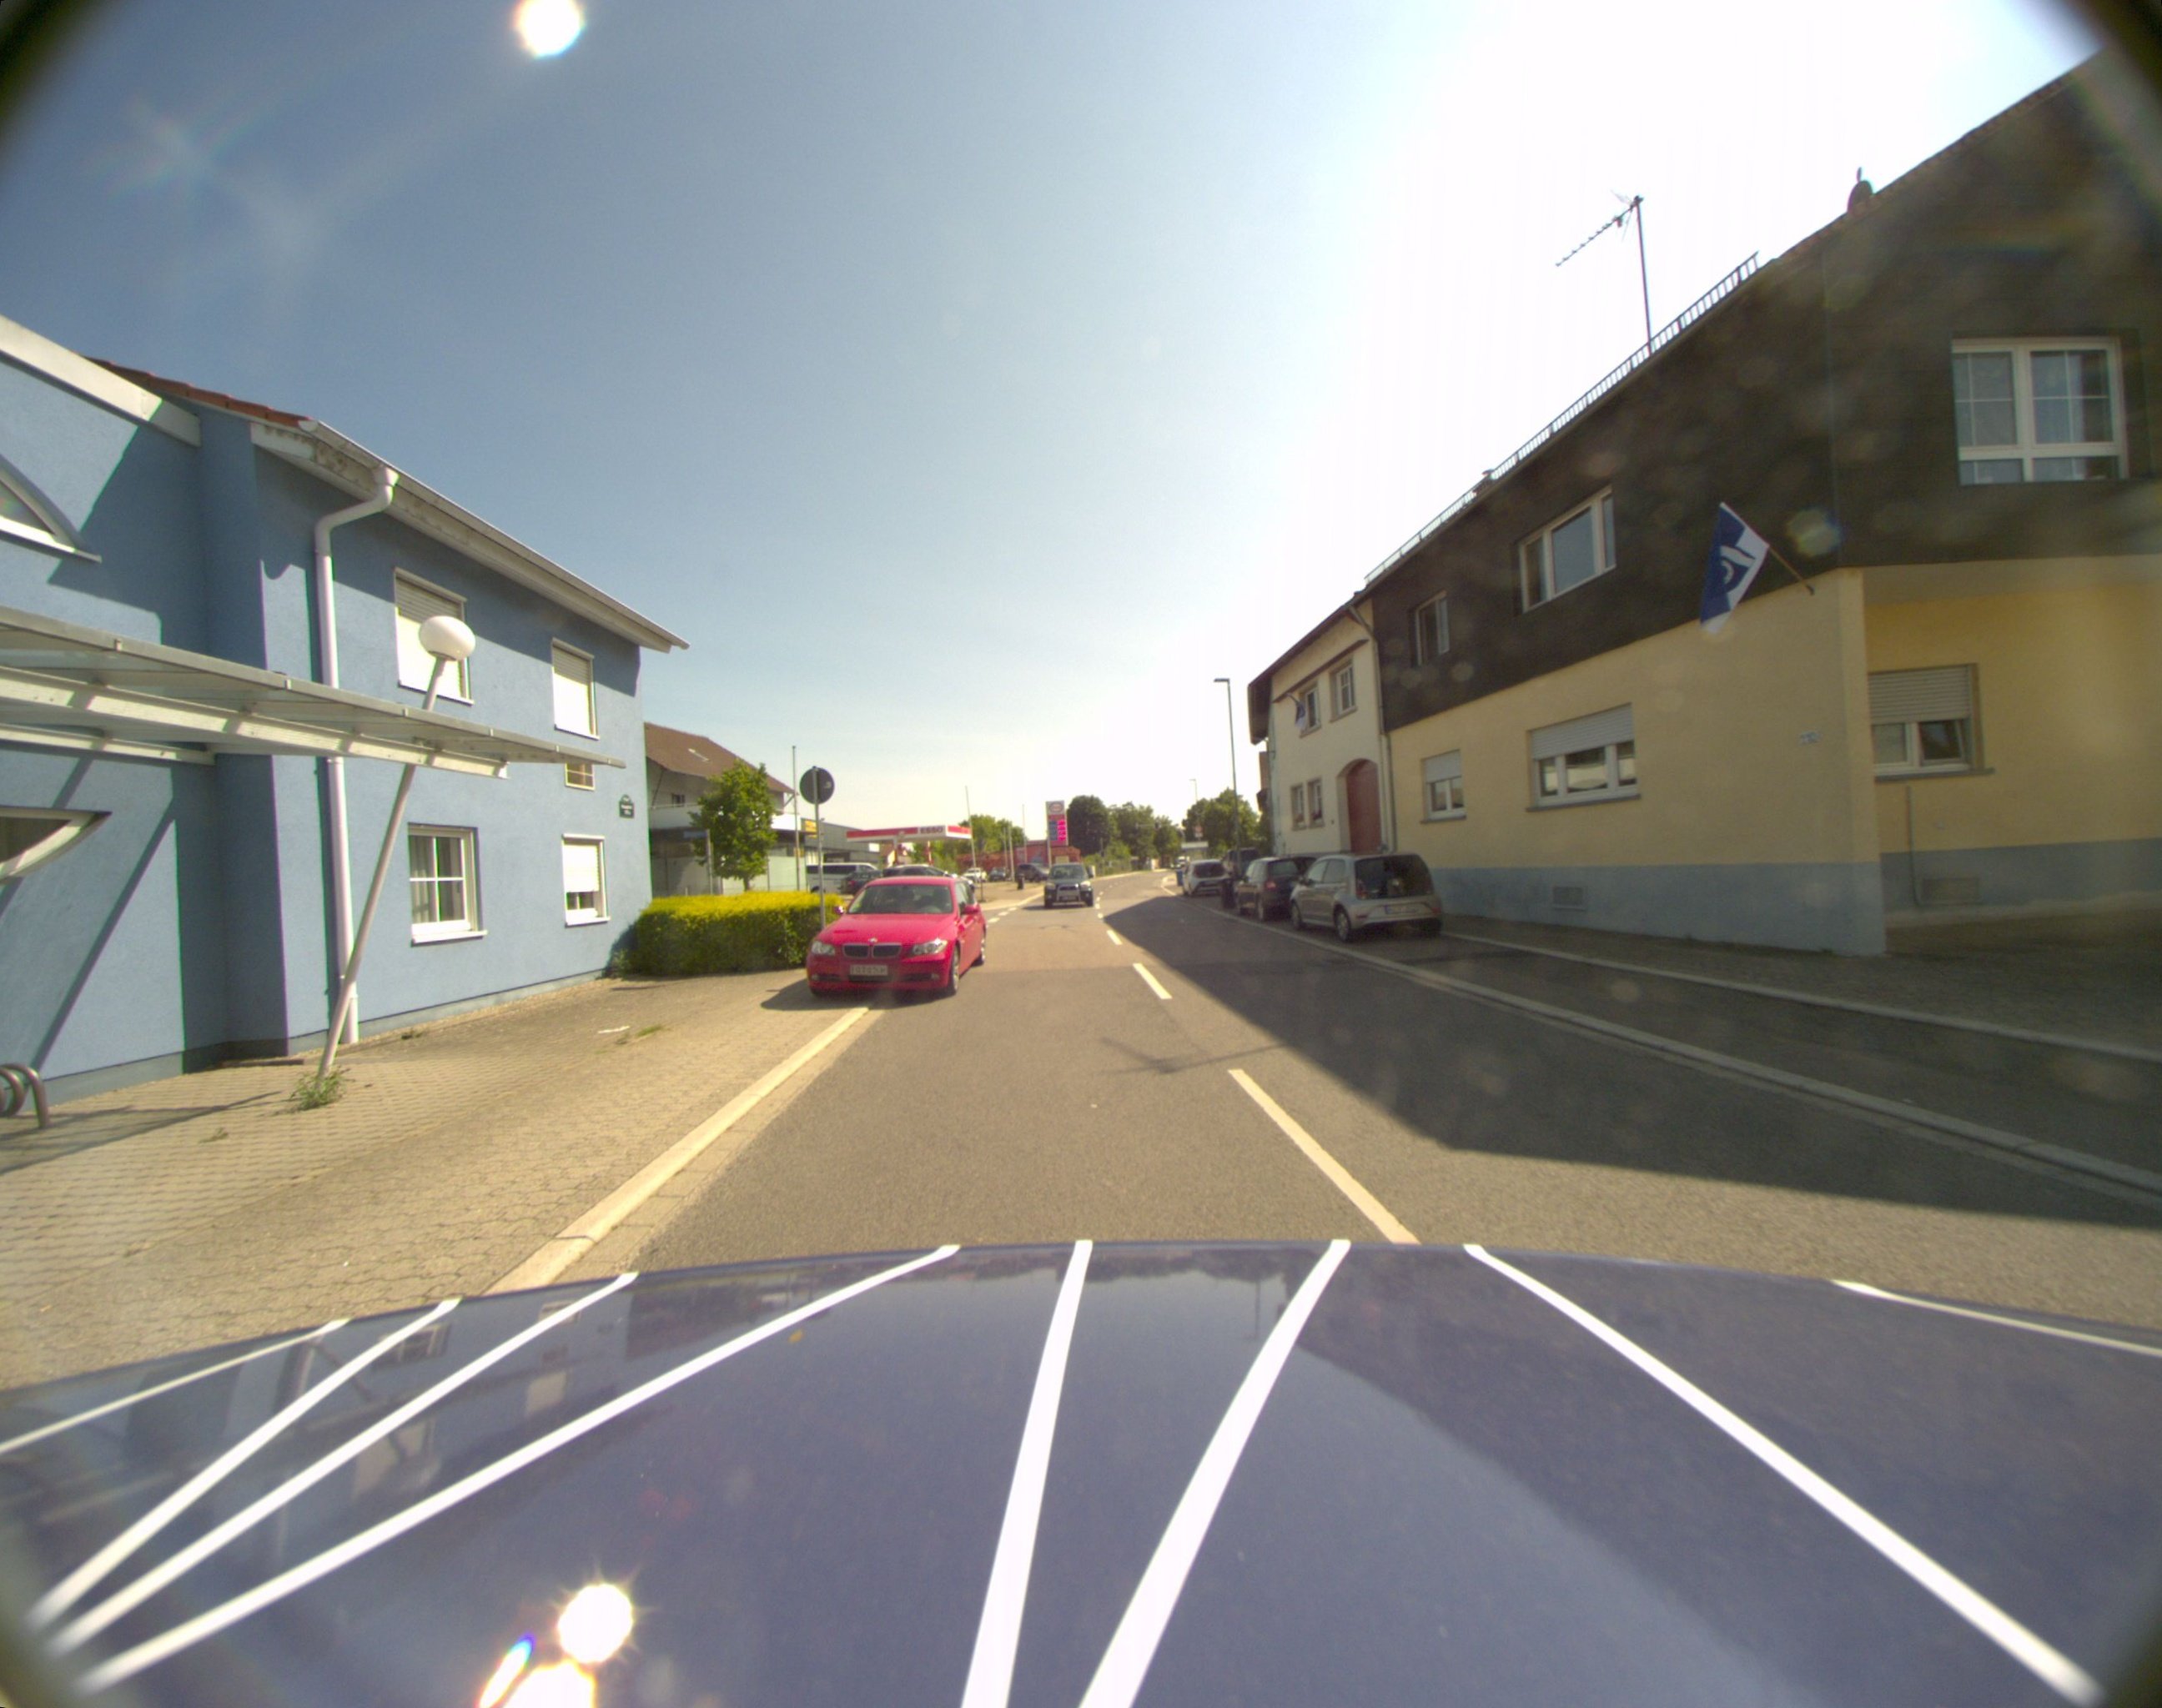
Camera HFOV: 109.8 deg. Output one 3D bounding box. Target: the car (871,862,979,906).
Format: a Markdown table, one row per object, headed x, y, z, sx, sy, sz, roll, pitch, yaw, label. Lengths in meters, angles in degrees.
| x | y | z | sx | sy | sz | roll | pitch | yaw | label |
| --- | --- | --- | --- | --- | --- | --- | --- | --- | --- |
| -6.686 | 1.271 | 32.591 | 4.120 | 1.643 | 1.827 | -2 | -1 | -30 | car |

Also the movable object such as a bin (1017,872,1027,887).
| x | y | z | sx | sy | sz | roll | pitch | yaw | label |
| --- | --- | --- | --- | --- | --- | --- | --- | --- | --- |
| -3.634 | 1.571 | 46.967 | 0.559 | 0.931 | 0.514 | -2 | 0 | -3 | movable object such as a bin |

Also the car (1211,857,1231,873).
| x | y | z | sx | sy | sz | roll | pitch | yaw | label |
| --- | --- | --- | --- | --- | --- | --- | --- | --- | --- |
| 13.717 | 1.100 | 74.349 | 1.718 | 1.444 | 3.918 | -4 | -2 | 9 | car |

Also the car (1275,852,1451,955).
| x | y | z | sx | sy | sz | roll | pitch | yaw | label |
| --- | --- | --- | --- | --- | --- | --- | --- | --- | --- |
| 4.949 | 0.799 | 13.929 | 1.645 | 1.492 | 3.781 | -5 | 0 | -1 | car |

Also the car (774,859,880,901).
| x | y | z | sx | sy | sz | roll | pitch | yaw | label |
| --- | --- | --- | --- | --- | --- | --- | --- | --- | --- |
| -13.906 | 1.399 | 41.775 | 5.290 | 2.001 | 2.228 | -2 | 0 | -19 | car |

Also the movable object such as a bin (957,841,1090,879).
| x | y | z | sx | sy | sz | roll | pitch | yaw | label |
| --- | --- | --- | --- | --- | --- | --- | --- | --- | --- |
| -7.081 | 0.773 | 94.031 | 16.084 | 3.994 | 2.775 | -3 | 0 | 7 | movable object such as a bin |

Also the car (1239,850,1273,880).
| x | y | z | sx | sy | sz | roll | pitch | yaw | label |
| --- | --- | --- | --- | --- | --- | --- | --- | --- | --- |
| 11.414 | 0.680 | 49.747 | 1.971 | 1.764 | 4.281 | -4 | 0 | 12 | car |

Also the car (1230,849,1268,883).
| x | y | z | sx | sy | sz | roll | pitch | yaw | label |
| --- | --- | --- | --- | --- | --- | --- | --- | --- | --- |
| 10.063 | 0.670 | 45.336 | 1.839 | 1.782 | 4.348 | -6 | -1 | 16 | car |

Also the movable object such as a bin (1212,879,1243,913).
| x | y | z | sx | sy | sz | roll | pitch | yaw | label |
| --- | --- | --- | --- | --- | --- | --- | --- | --- | --- |
| 4.358 | 1.239 | 22.627 | 0.553 | 0.923 | 0.825 | -7 | 0 | -7 | movable object such as a bin |

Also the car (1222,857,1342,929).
| x | y | z | sx | sy | sz | roll | pitch | yaw | label |
| --- | --- | --- | --- | --- | --- | --- | --- | --- | --- |
| 4.804 | 0.875 | 18.741 | 1.683 | 1.428 | 3.995 | -6 | 0 | -1 | car |

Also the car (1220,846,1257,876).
| x | y | z | sx | sy | sz | roll | pitch | yaw | label |
| --- | --- | --- | --- | --- | --- | --- | --- | --- | --- |
| 12.114 | 0.496 | 58.840 | 2.130 | 1.974 | 5.268 | -8 | -1 | 7 | car |

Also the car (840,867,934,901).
| x | y | z | sx | sy | sz | roll | pitch | yaw | label |
| --- | --- | --- | --- | --- | --- | --- | --- | --- | --- |
| -10.062 | 1.536 | 39.476 | 4.323 | 1.541 | 1.980 | -2 | -1 | -29 | car |

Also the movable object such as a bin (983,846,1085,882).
| x | y | z | sx | sy | sz | roll | pitch | yaw | label |
| --- | --- | --- | --- | --- | --- | --- | --- | --- | --- |
| -6.314 | 1.347 | 102.430 | 13.280 | 4.140 | 2.865 | -3 | 0 | 7 | movable object such as a bin |

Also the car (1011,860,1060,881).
| x | y | z | sx | sy | sz | roll | pitch | yaw | label |
| --- | --- | --- | --- | --- | --- | --- | --- | --- | --- |
| -3.837 | 1.391 | 63.629 | 1.778 | 1.546 | 4.171 | -2 | -1 | -44 | car |

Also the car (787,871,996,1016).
| x | y | z | sx | sy | sz | roll | pitch | yaw | label |
| --- | --- | --- | --- | --- | --- | --- | --- | --- | --- |
| -2.358 | 1.049 | 10.652 | 1.737 | 1.486 | 4.355 | -1 | 0 | 1 | car |

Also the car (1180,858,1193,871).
| x | y | z | sx | sy | sz | roll | pitch | yaw | label |
| --- | --- | --- | --- | --- | --- | --- | --- | --- | --- |
| 21.630 | 2.072 | 155.676 | 1.936 | 2.488 | 5.844 | -3 | 0 | 14 | car |

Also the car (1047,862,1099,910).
| x | y | z | sx | sy | sz | roll | pitch | yaw | label |
| --- | --- | --- | --- | --- | --- | --- | --- | --- | --- |
| -0.287 | 1.201 | 29.223 | 1.849 | 1.686 | 4.399 | 0 | -2 | 0 | car |

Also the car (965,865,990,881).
| x | y | z | sx | sy | sz | roll | pitch | yaw | label |
| --- | --- | --- | --- | --- | --- | --- | --- | --- | --- |
| -11.402 | 2.119 | 84.249 | 2.003 | 1.582 | 4.339 | -3 | 0 | 1 | car |

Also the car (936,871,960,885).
| x | y | z | sx | sy | sz | roll | pitch | yaw | label |
| --- | --- | --- | --- | --- | --- | --- | --- | --- | --- |
| -14.826 | 2.656 | 85.018 | 1.845 | 1.378 | 4.000 | -3 | 0 | 1 | car |

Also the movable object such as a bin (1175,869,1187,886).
| x | y | z | sx | sy | sz | roll | pitch | yaw | label |
| --- | --- | --- | --- | --- | --- | --- | --- | --- | --- |
| 5.841 | 1.379 | 44.465 | 0.559 | 0.931 | 0.514 | -5 | 0 | -3 | movable object such as a bin |

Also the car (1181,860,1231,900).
| x | y | z | sx | sy | sz | roll | pitch | yaw | label |
| --- | --- | --- | --- | --- | --- | --- | --- | --- | --- |
| 5.154 | 1.031 | 31.714 | 1.687 | 1.453 | 3.650 | -4 | 0 | 4 | car |

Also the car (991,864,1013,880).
| x | y | z | sx | sy | sz | roll | pitch | yaw | label |
| --- | --- | --- | --- | --- | --- | --- | --- | --- | --- |
| -8.715 | 1.964 | 84.157 | 1.845 | 1.582 | 4.106 | -3 | 0 | 1 | car |

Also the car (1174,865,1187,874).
| x | y | z | sx | sy | sz | roll | pitch | yaw | label |
| --- | --- | --- | --- | --- | --- | --- | --- | --- | --- |
| 18.898 | 2.946 | 144.434 | 1.844 | 1.582 | 4.110 | -3 | 0 | 14 | car |
